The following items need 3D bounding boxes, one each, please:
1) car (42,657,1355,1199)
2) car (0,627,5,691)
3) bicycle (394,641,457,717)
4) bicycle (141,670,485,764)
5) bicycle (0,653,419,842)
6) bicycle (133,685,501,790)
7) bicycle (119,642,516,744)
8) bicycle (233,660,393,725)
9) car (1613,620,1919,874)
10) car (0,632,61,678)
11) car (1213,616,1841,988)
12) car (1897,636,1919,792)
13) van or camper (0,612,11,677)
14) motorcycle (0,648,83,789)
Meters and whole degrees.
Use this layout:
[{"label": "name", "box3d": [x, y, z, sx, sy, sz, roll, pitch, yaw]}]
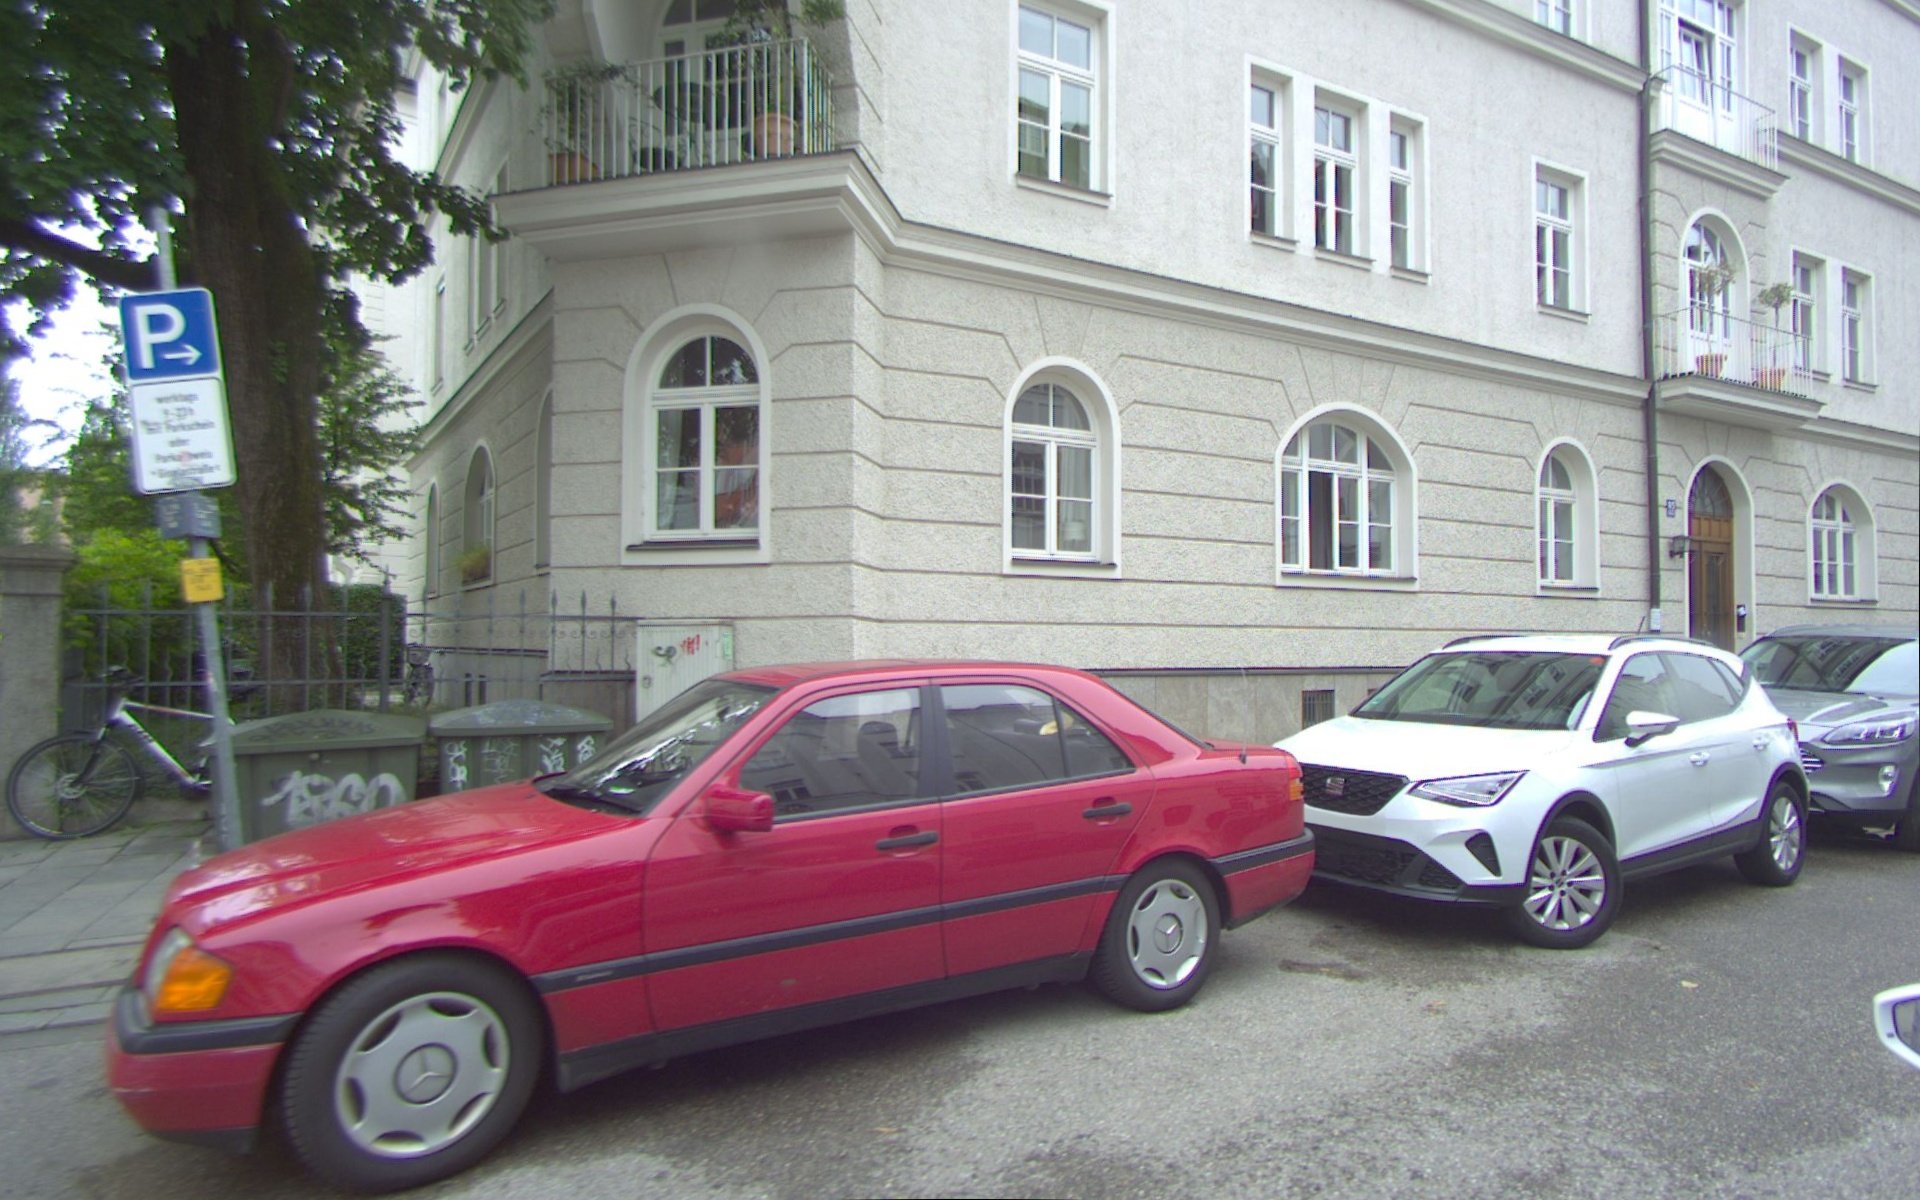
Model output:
[{"label": "car", "box3d": [-0.560, 0.965, 4.119, 4.426, 1.411, 1.673, 1, -3, -30]}, {"label": "car", "box3d": [-27.215, 1.620, 26.876, 1.982, 1.795, 3.957, 2, -3, -38]}, {"label": "bicycle", "box3d": [-8.854, 1.268, 16.712, 0.847, 1.159, 2.388, 1, -2, -27]}, {"label": "bicycle", "box3d": [-7.202, 1.267, 11.408, 3.185, 0.869, 0.813, 2, -2, -35]}, {"label": "bicycle", "box3d": [-5.628, 1.003, 7.553, 2.634, 1.179, 0.796, 2, -3, -44]}, {"label": "bicycle", "box3d": [-6.685, 1.396, 10.686, 3.185, 0.869, 0.813, 2, -2, -35]}, {"label": "bicycle", "box3d": [-6.170, 0.853, 9.916, 3.185, 0.869, 0.800, 2, -2, -35]}, {"label": "bicycle", "box3d": [-9.697, 1.375, 15.096, 1.934, 0.912, 0.858, 0, -2, 10]}, {"label": "car", "box3d": [7.681, 1.054, 8.575, 4.162, 1.699, 1.828, 1, -2, -30]}, {"label": "car", "box3d": [-33.577, 1.931, 35.795, 1.982, 1.572, 3.957, 2, -3, -38]}, {"label": "car", "box3d": [3.538, 0.958, 6.095, 3.908, 1.588, 1.685, 2, -3, -32]}, {"label": "car", "box3d": [12.245, 1.196, 10.718, 4.376, 1.620, 1.870, 1, -2, -27]}, {"label": "van or camper", "box3d": [-33.245, 1.395, 32.277, 4.535, 2.071, 2.099, 0, -2, 19]}, {"label": "motorcycle", "box3d": [-9.964, 1.163, 10.419, 0.805, 1.288, 2.740, 1, -2, -31]}]
